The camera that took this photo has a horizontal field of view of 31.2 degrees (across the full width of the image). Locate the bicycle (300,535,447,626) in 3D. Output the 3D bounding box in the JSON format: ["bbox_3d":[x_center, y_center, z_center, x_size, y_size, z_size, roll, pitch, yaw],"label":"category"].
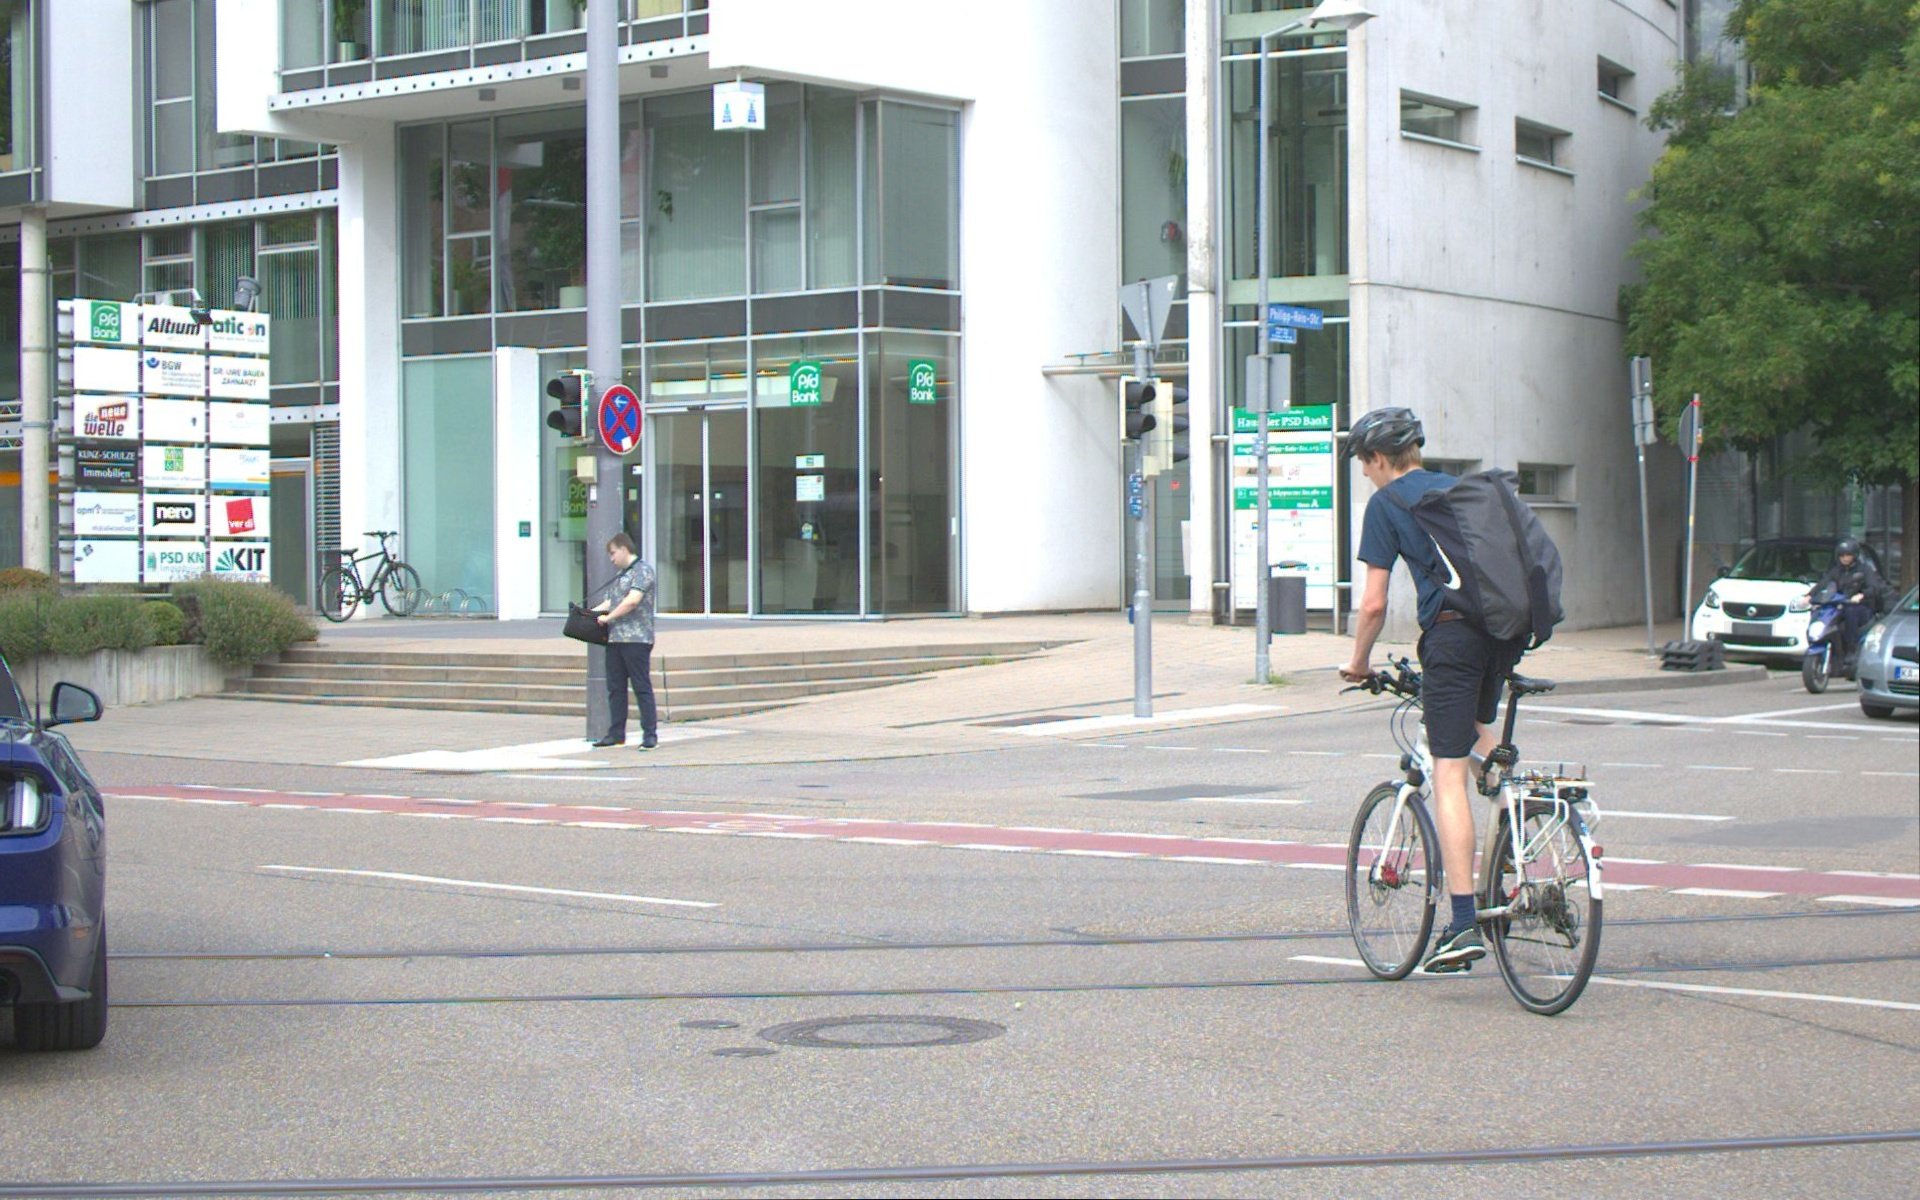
[{"bbox_3d":[-7.802,-0.271,45.840,0.586,1.173,2.110,2,1,36],"label":"bicycle"}]

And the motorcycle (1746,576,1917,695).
[{"bbox_3d":[9.402,0.358,37.009,0.827,1.195,2.497,1,2,38],"label":"motorcycle"}]

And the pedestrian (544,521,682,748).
[{"bbox_3d":[-2.905,0.274,28.786,0.764,1.858,0.836,-2,1,-43],"label":"pedestrian"}]

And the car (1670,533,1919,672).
[{"bbox_3d":[10.547,-0.020,42.302,1.834,1.551,4.207,2,3,38],"label":"car"}]

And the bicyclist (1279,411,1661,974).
[{"bbox_3d":[1.690,0.279,11.560,0.796,1.779,1.233,-1,1,-17],"label":"bicyclist"}]

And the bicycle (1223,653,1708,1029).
[{"bbox_3d":[1.658,0.758,11.709,0.800,1.083,2.132,-1,1,-17],"label":"bicycle"}]

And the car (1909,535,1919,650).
[{"bbox_3d":[14.994,-0.117,48.020,1.834,1.551,4.207,2,3,38],"label":"car"}]

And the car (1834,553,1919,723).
[{"bbox_3d":[10.061,0.324,32.971,1.671,1.501,4.225,2,3,38],"label":"car"}]

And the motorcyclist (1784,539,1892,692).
[{"bbox_3d":[9.470,0.158,37.076,0.821,1.611,0.880,1,2,38],"label":"motorcyclist"}]

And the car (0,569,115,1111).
[{"bbox_3d":[-3.767,0.633,11.082,1.875,1.399,4.283,-1,1,-16],"label":"car"}]
